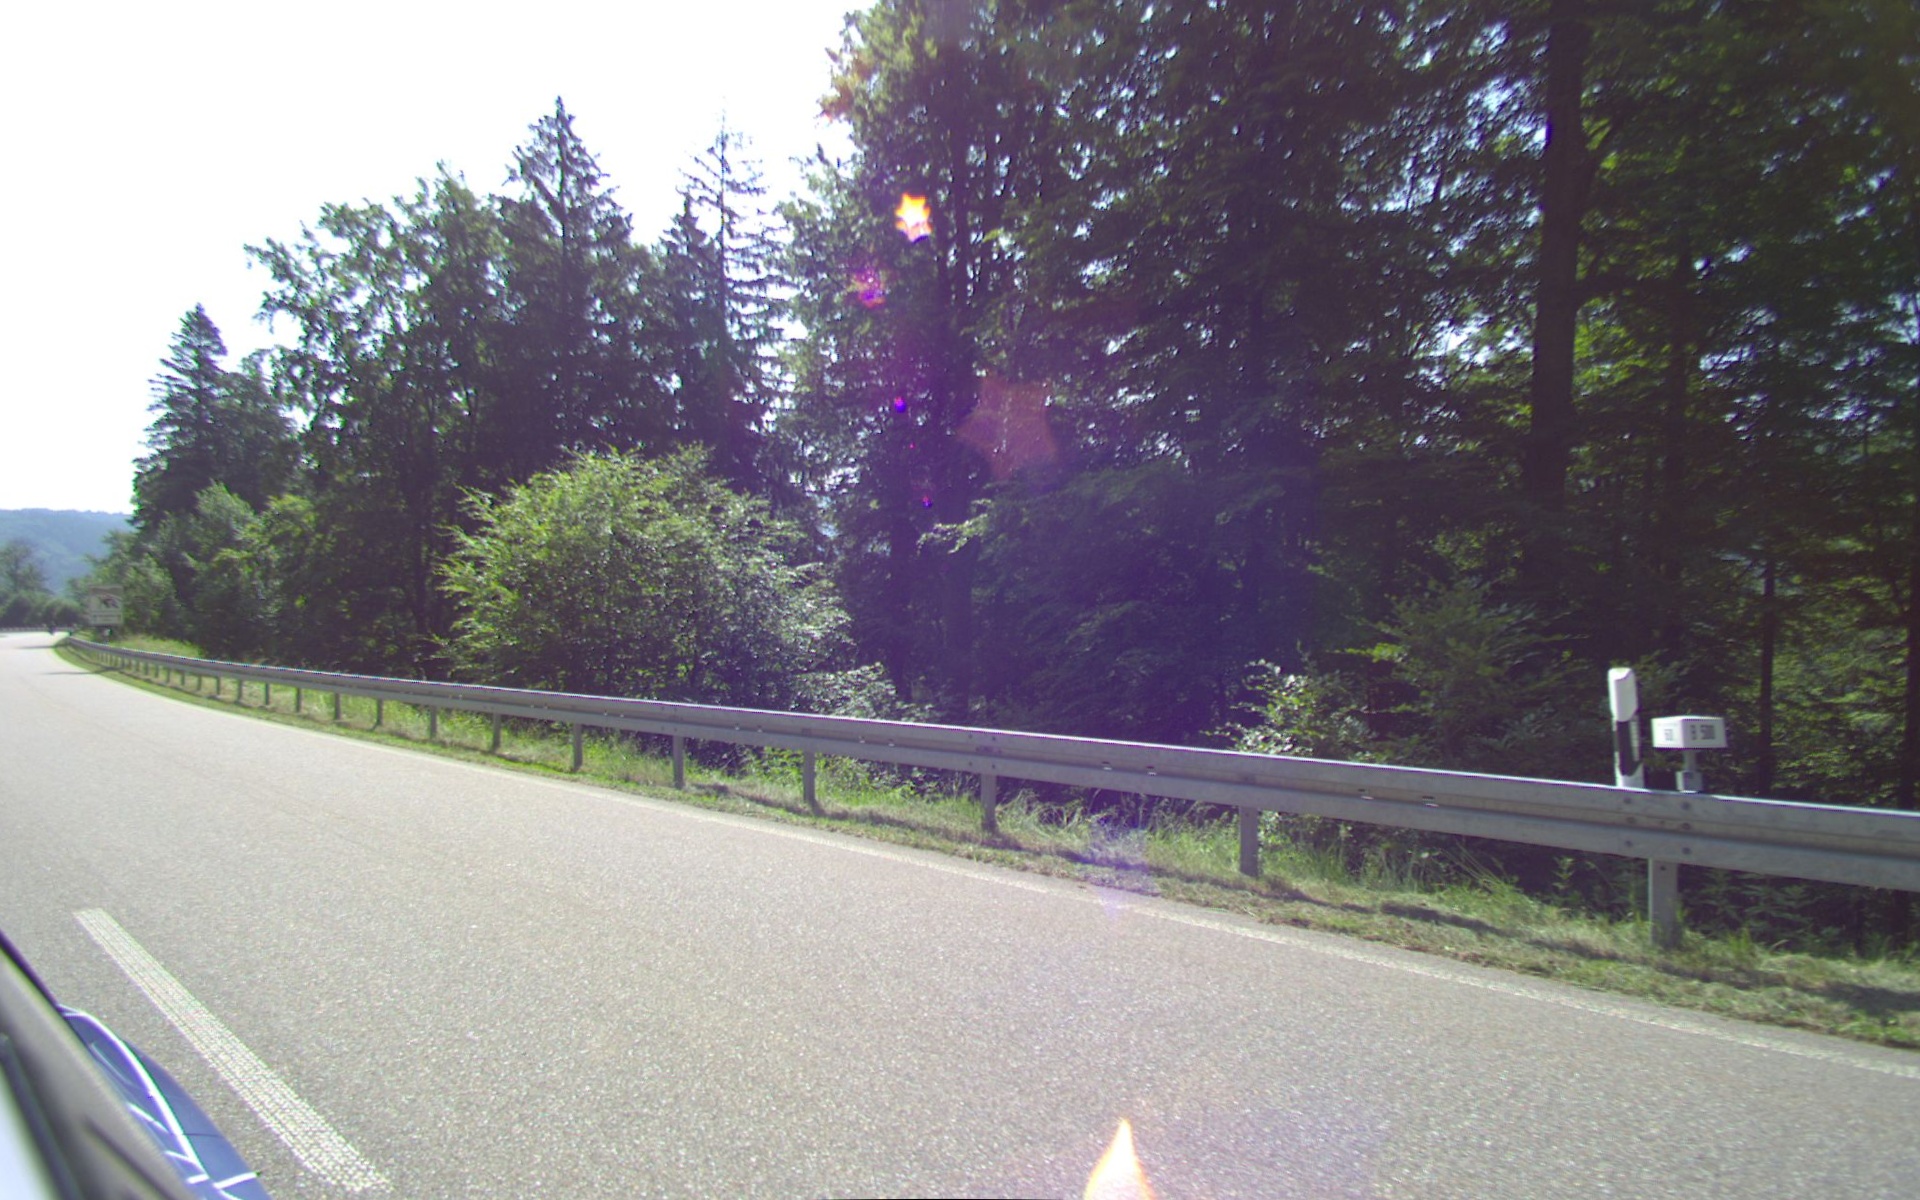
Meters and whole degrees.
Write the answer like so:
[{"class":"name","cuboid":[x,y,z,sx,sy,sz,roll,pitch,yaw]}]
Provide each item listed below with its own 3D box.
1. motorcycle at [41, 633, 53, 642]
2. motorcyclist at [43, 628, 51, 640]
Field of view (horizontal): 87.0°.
[{"class":"motorcycle","cuboid":[-117.674,4.811,130.412,0.972,1.079,1.967,1,-2,-37]},{"class":"motorcyclist","cuboid":[-117.668,4.403,130.449,0.649,1.525,0.936,1,-2,-37]}]
